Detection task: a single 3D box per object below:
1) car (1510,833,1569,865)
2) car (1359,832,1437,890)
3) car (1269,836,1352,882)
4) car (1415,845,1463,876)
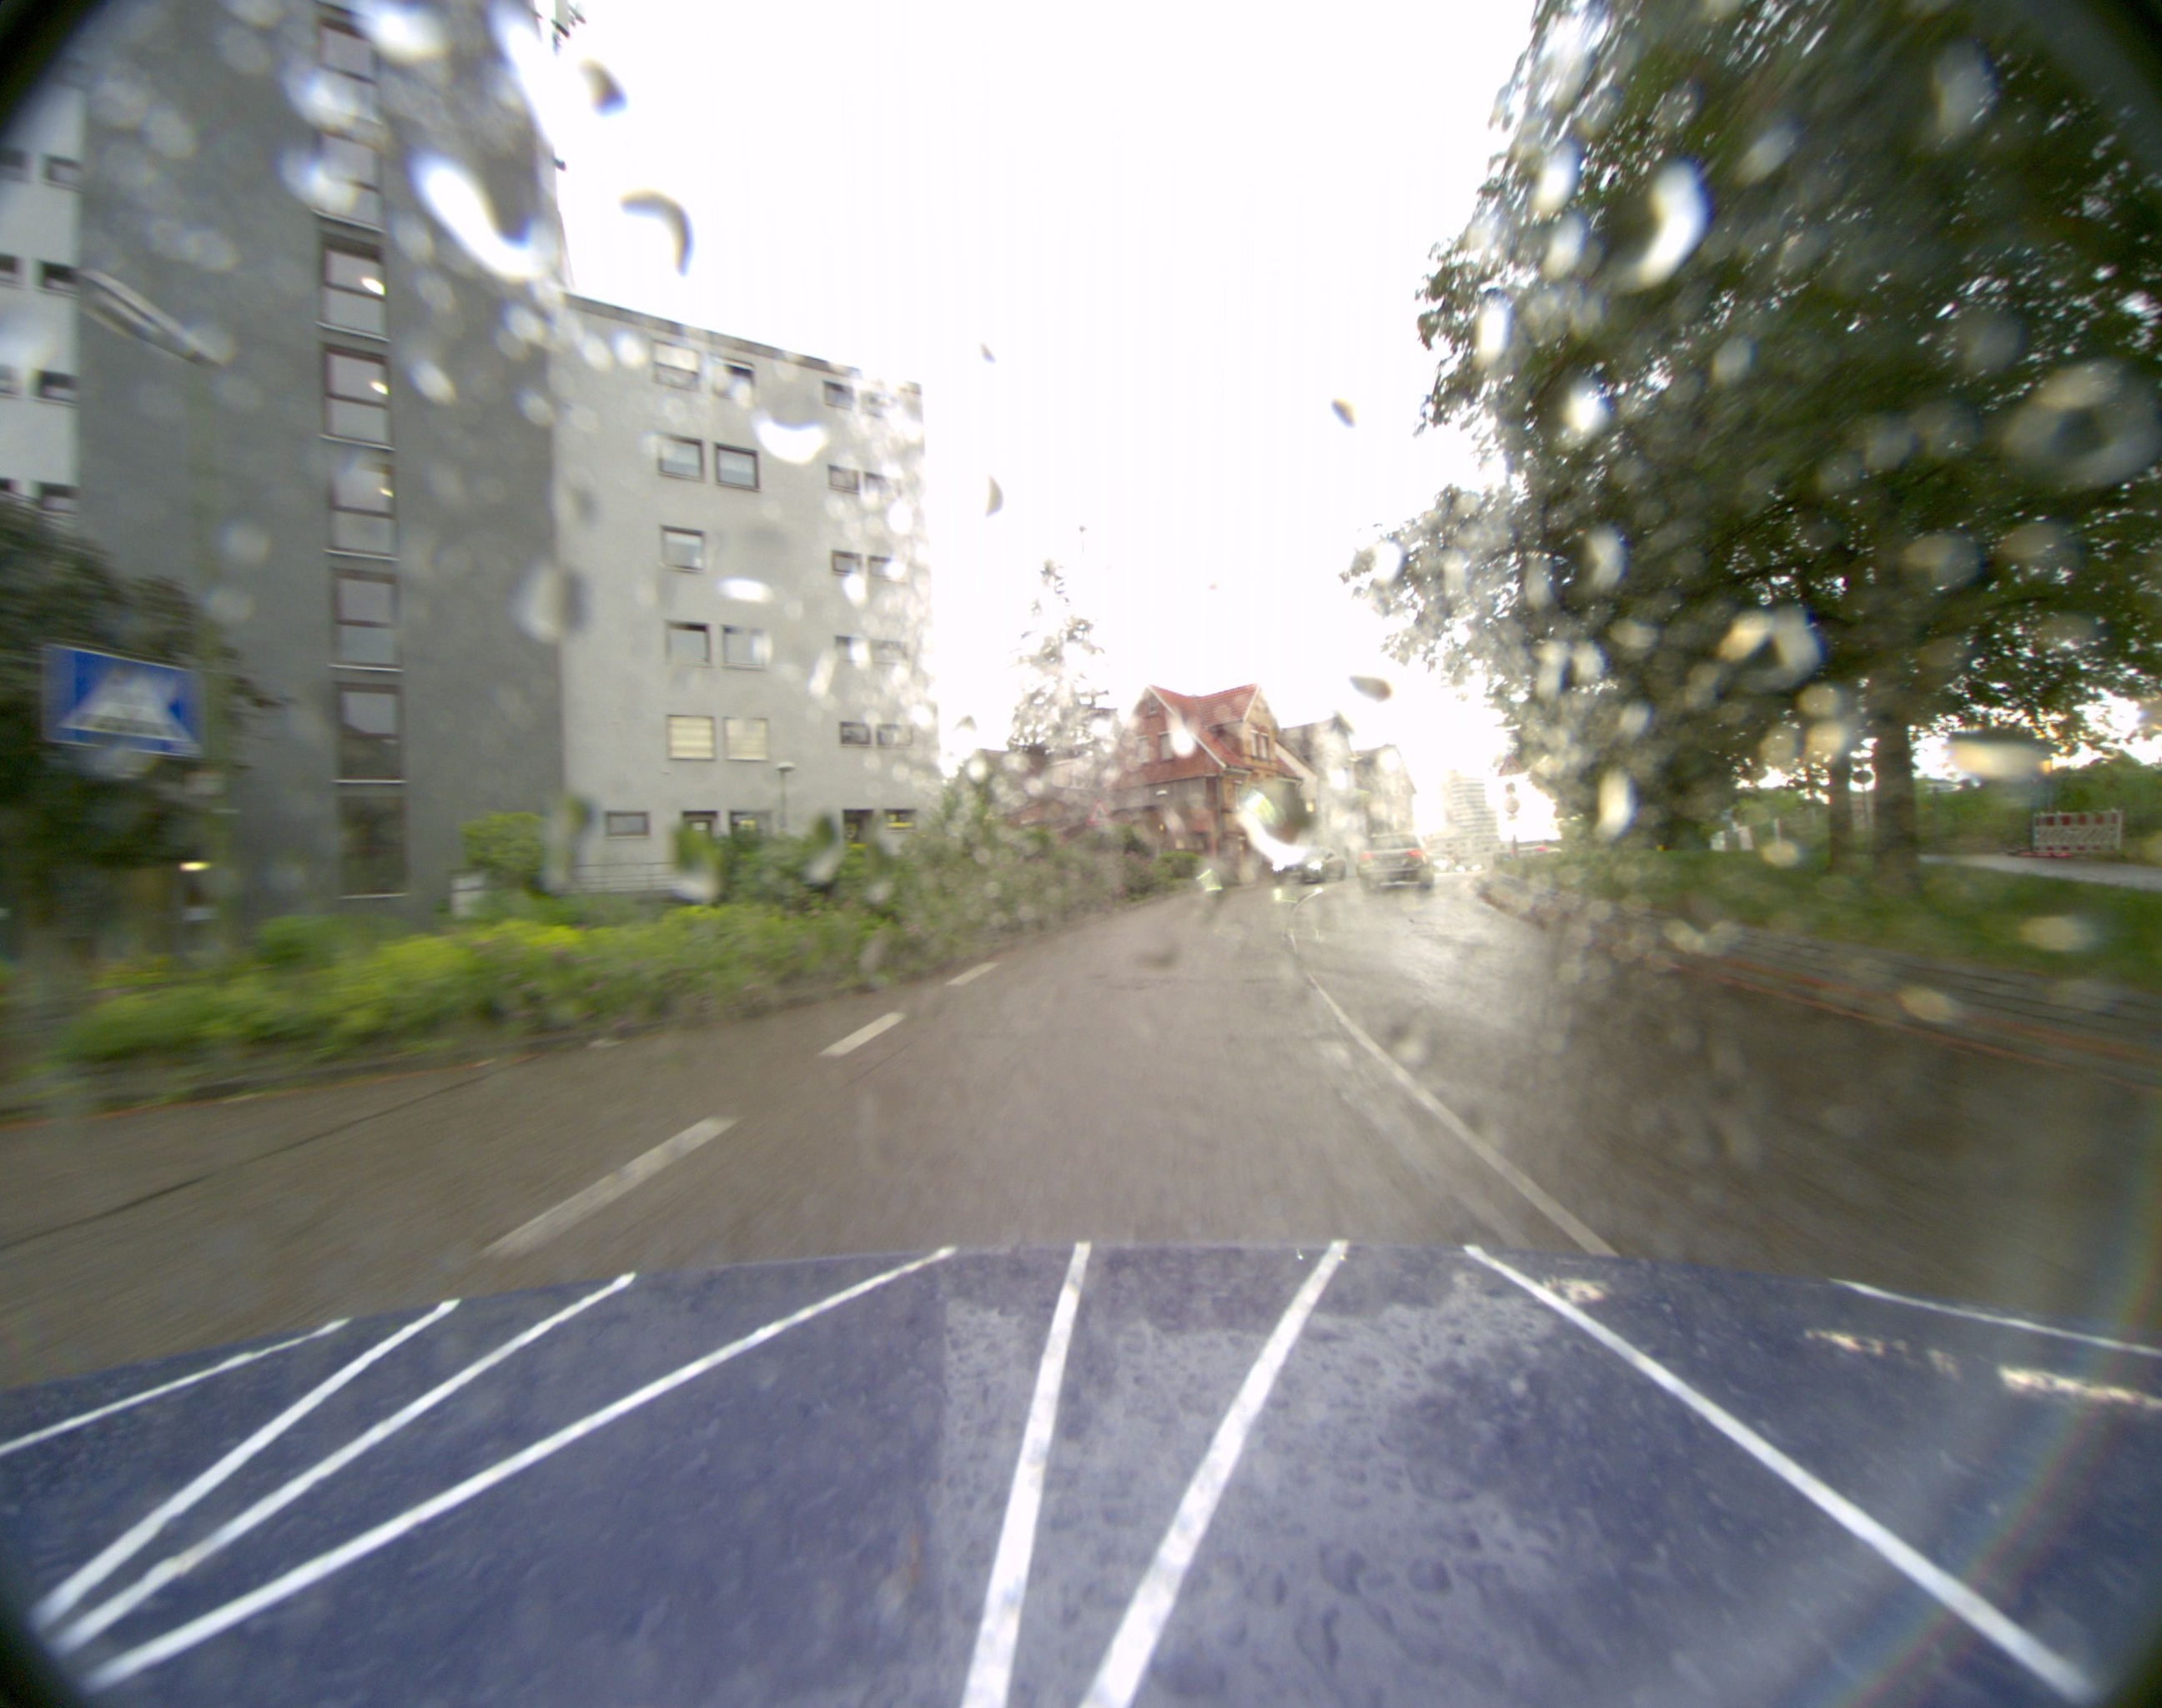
[{"bbox_3d":[24.625,-0.281,40.745,1.724,1.496,4.266,-4,-1,44],"label":"car"},{"bbox_3d":[9.453,0.160,22.466,1.729,1.534,4.307,-1,1,28],"label":"car"},{"bbox_3d":[9.257,0.250,30.387,1.835,1.504,4.859,-7,-5,32],"label":"car"},{"bbox_3d":[24.031,0.502,50.933,1.897,1.647,4.957,-6,-7,35],"label":"car"}]
